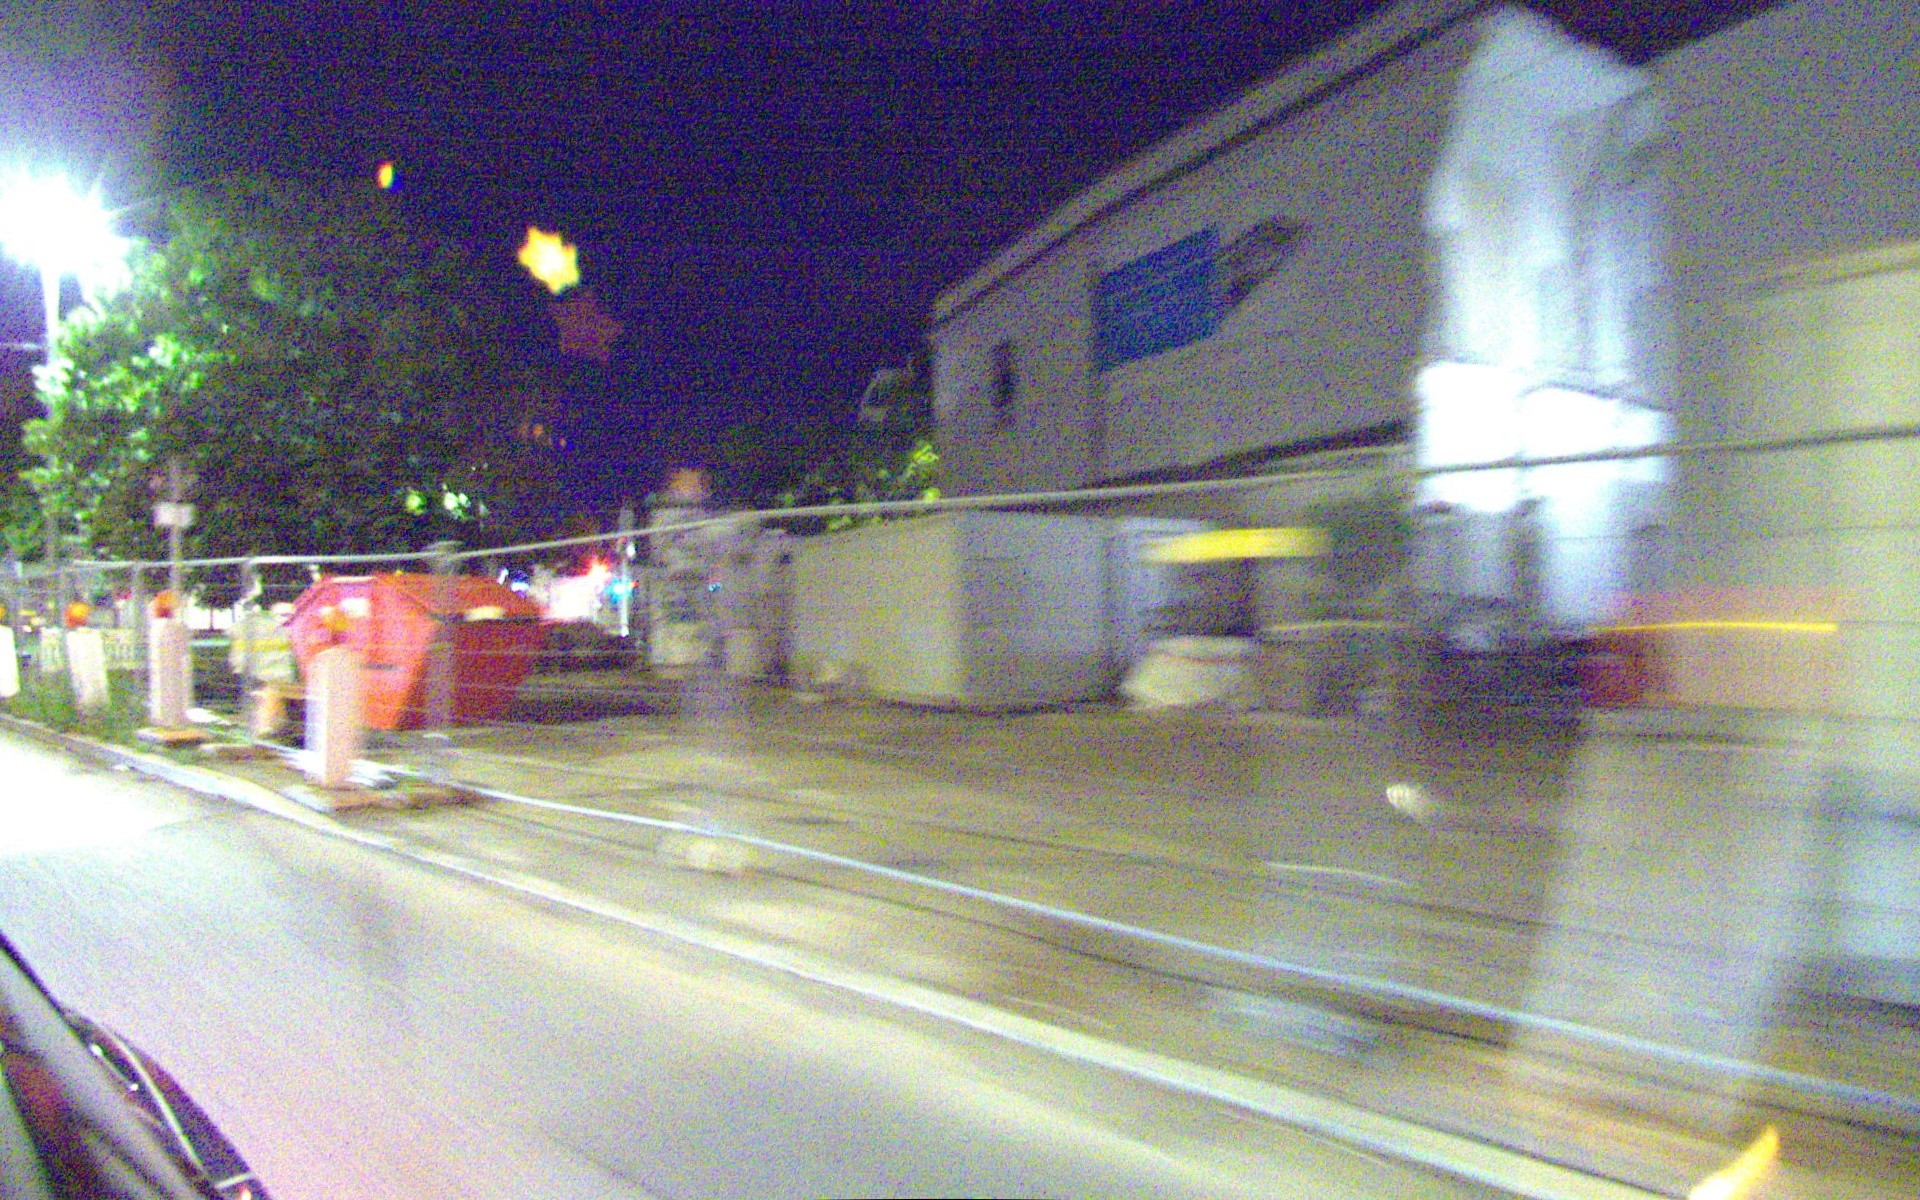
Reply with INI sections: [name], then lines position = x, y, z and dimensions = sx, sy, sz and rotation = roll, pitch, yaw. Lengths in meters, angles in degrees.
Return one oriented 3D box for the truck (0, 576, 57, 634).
[truck]
position = -63.015, 0.320, 65.934
dimensions = 6.109, 3.722, 2.405
rotation = 1, -1, -40
